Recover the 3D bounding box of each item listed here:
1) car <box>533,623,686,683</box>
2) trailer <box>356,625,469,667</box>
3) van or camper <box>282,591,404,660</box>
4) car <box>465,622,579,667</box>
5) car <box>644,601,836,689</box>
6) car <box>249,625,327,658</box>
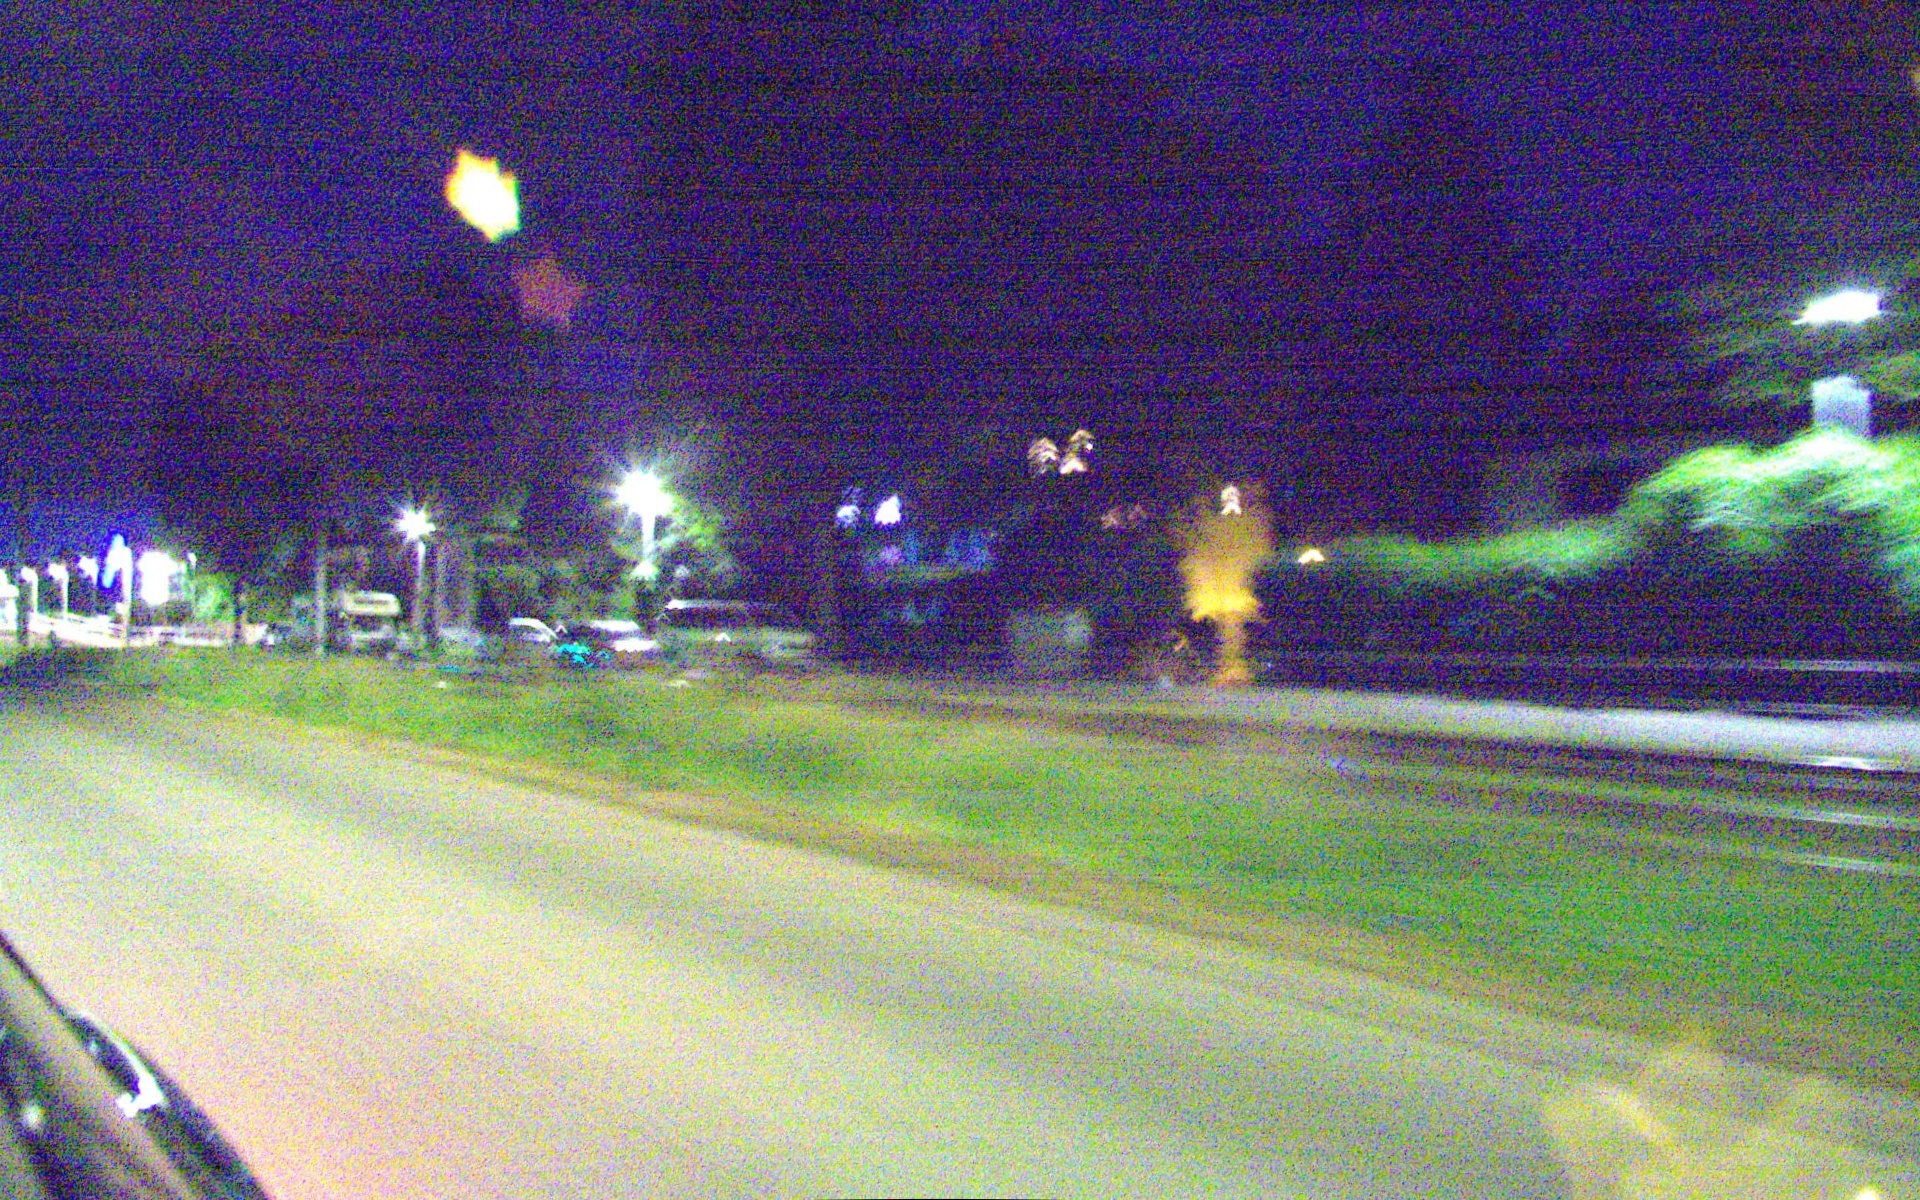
[{"bbox_3d":[-9.918,1.408,28.374,5.171,1.534,1.881,-1,-2,43],"label":"car"},{"bbox_3d":[-20.468,1.706,37.757,2.392,1.385,4.657,6,-6,-45],"label":"trailer"},{"bbox_3d":[-25.598,1.104,41.917,5.653,2.668,2.252,-1,-4,36],"label":"van or camper"},{"bbox_3d":[-13.891,1.387,32.203,1.530,1.336,3.002,-1,-1,35],"label":"car"},{"bbox_3d":[-5.370,1.026,24.351,4.873,1.918,1.839,-1,-1,38],"label":"car"},{"bbox_3d":[-30.442,1.874,45.808,4.538,1.350,1.629,-1,-6,40],"label":"car"}]
